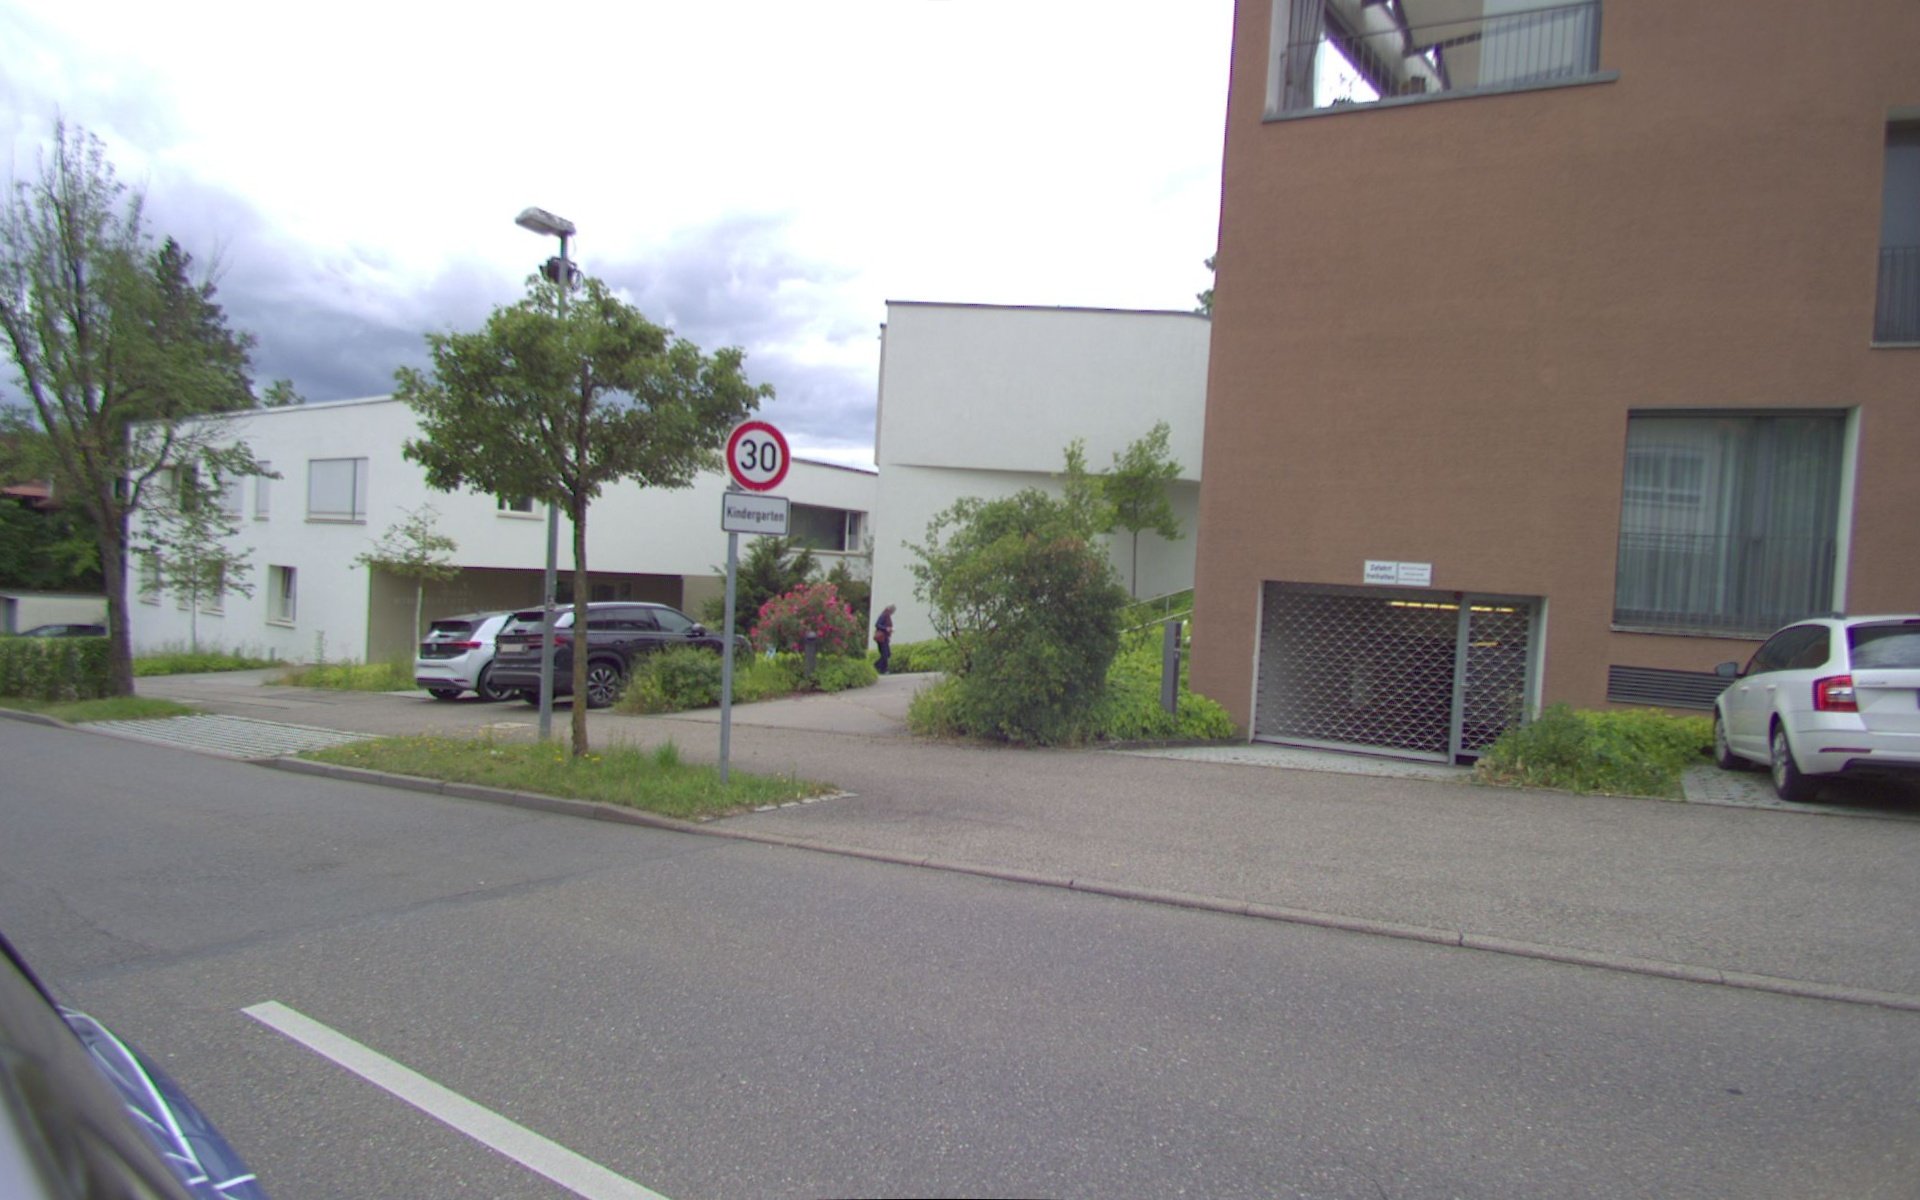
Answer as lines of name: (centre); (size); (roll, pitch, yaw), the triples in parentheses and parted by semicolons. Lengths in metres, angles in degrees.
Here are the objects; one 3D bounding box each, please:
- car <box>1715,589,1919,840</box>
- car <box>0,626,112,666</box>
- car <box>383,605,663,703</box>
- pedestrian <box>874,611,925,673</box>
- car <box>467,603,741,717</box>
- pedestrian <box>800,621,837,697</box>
car: (7.649, 0.824, 8.220); (2.007, 1.635, 4.228); (1, -2, 31)
car: (-33.893, 1.667, 37.276); (1.738, 1.364, 3.761); (-1, -2, 35)
car: (-7.917, 0.947, 18.748); (2.060, 1.578, 4.352); (-1, -2, 33)
pedestrian: (-1.295, 0.879, 21.614); (0.897, 1.293, 0.602); (-1, 0, 34)
car: (-5.843, 0.908, 17.025); (2.004, 1.666, 3.953); (-1, -1, 35)
pedestrian: (-3.151, 1.301, 22.576); (0.564, 1.653, 0.588); (-1, -2, 35)
